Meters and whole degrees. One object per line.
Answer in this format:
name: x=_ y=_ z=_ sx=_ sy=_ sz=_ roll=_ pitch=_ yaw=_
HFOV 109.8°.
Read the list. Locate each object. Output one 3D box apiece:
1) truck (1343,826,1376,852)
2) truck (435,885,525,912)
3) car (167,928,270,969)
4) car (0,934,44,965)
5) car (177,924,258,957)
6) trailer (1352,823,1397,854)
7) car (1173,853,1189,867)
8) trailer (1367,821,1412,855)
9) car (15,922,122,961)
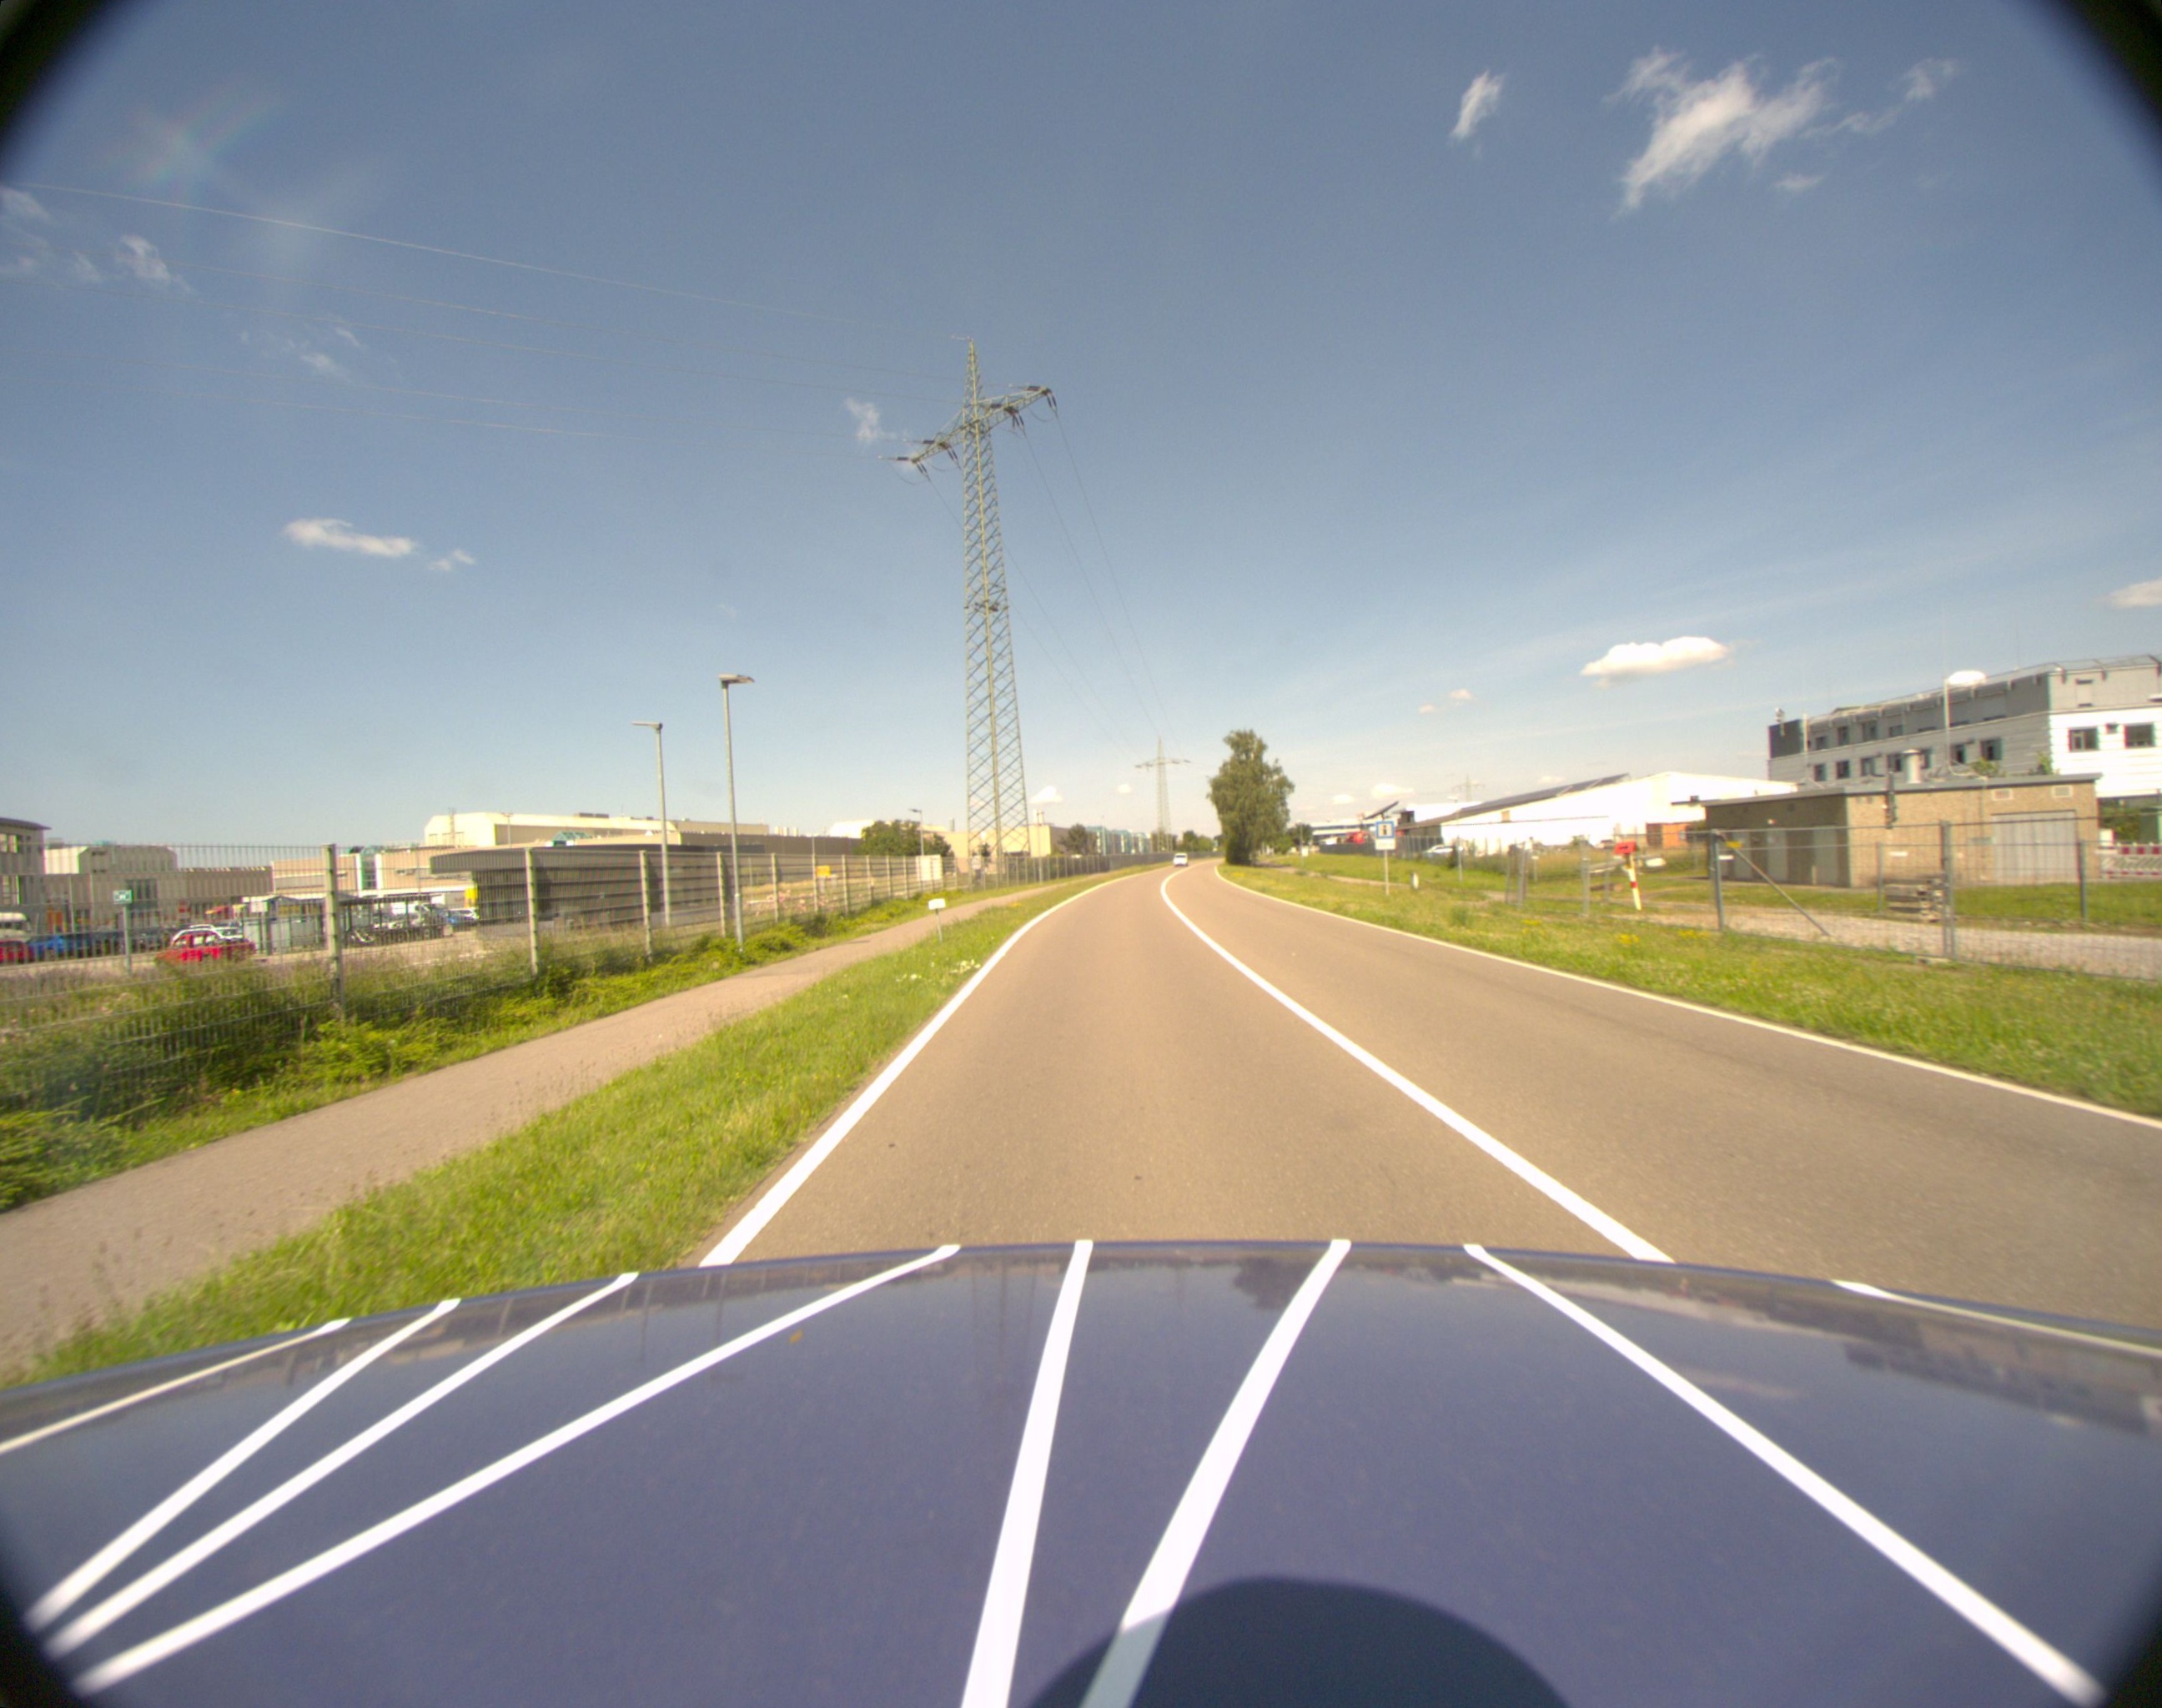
truck: x=41.187 y=-2.242 z=112.753 sx=3.106 sy=3.624 sz=10.602 roll=-2 pitch=1 yaw=13
truck: x=-89.456 y=6.531 z=113.525 sx=1.997 sy=3.119 sz=11.861 roll=-4 pitch=0 yaw=11
car: x=-39.116 y=4.261 z=34.504 sx=3.149 sy=1.525 sz=1.456 roll=-3 pitch=0 yaw=6
car: x=-60.031 y=5.335 z=42.187 sx=3.054 sy=1.525 sz=1.472 roll=-3 pitch=0 yaw=6
car: x=-48.929 y=4.907 z=43.084 sx=3.054 sy=1.525 sz=1.472 roll=-3 pitch=0 yaw=6
trailer: x=38.468 y=-2.033 z=100.294 sx=3.295 sy=3.624 sz=14.937 roll=-2 pitch=1 yaw=13
car: x=14.147 y=0.794 z=107.122 sx=1.835 sy=1.796 sz=4.834 roll=-2 pitch=0 yaw=12
trailer: x=35.929 y=-1.839 z=88.788 sx=3.404 sy=3.624 sz=8.666 roll=-2 pitch=1 yaw=13
car: x=-63.554 y=5.490 z=47.720 sx=4.746 sy=2.002 sz=2.001 roll=-4 pitch=0 yaw=10
